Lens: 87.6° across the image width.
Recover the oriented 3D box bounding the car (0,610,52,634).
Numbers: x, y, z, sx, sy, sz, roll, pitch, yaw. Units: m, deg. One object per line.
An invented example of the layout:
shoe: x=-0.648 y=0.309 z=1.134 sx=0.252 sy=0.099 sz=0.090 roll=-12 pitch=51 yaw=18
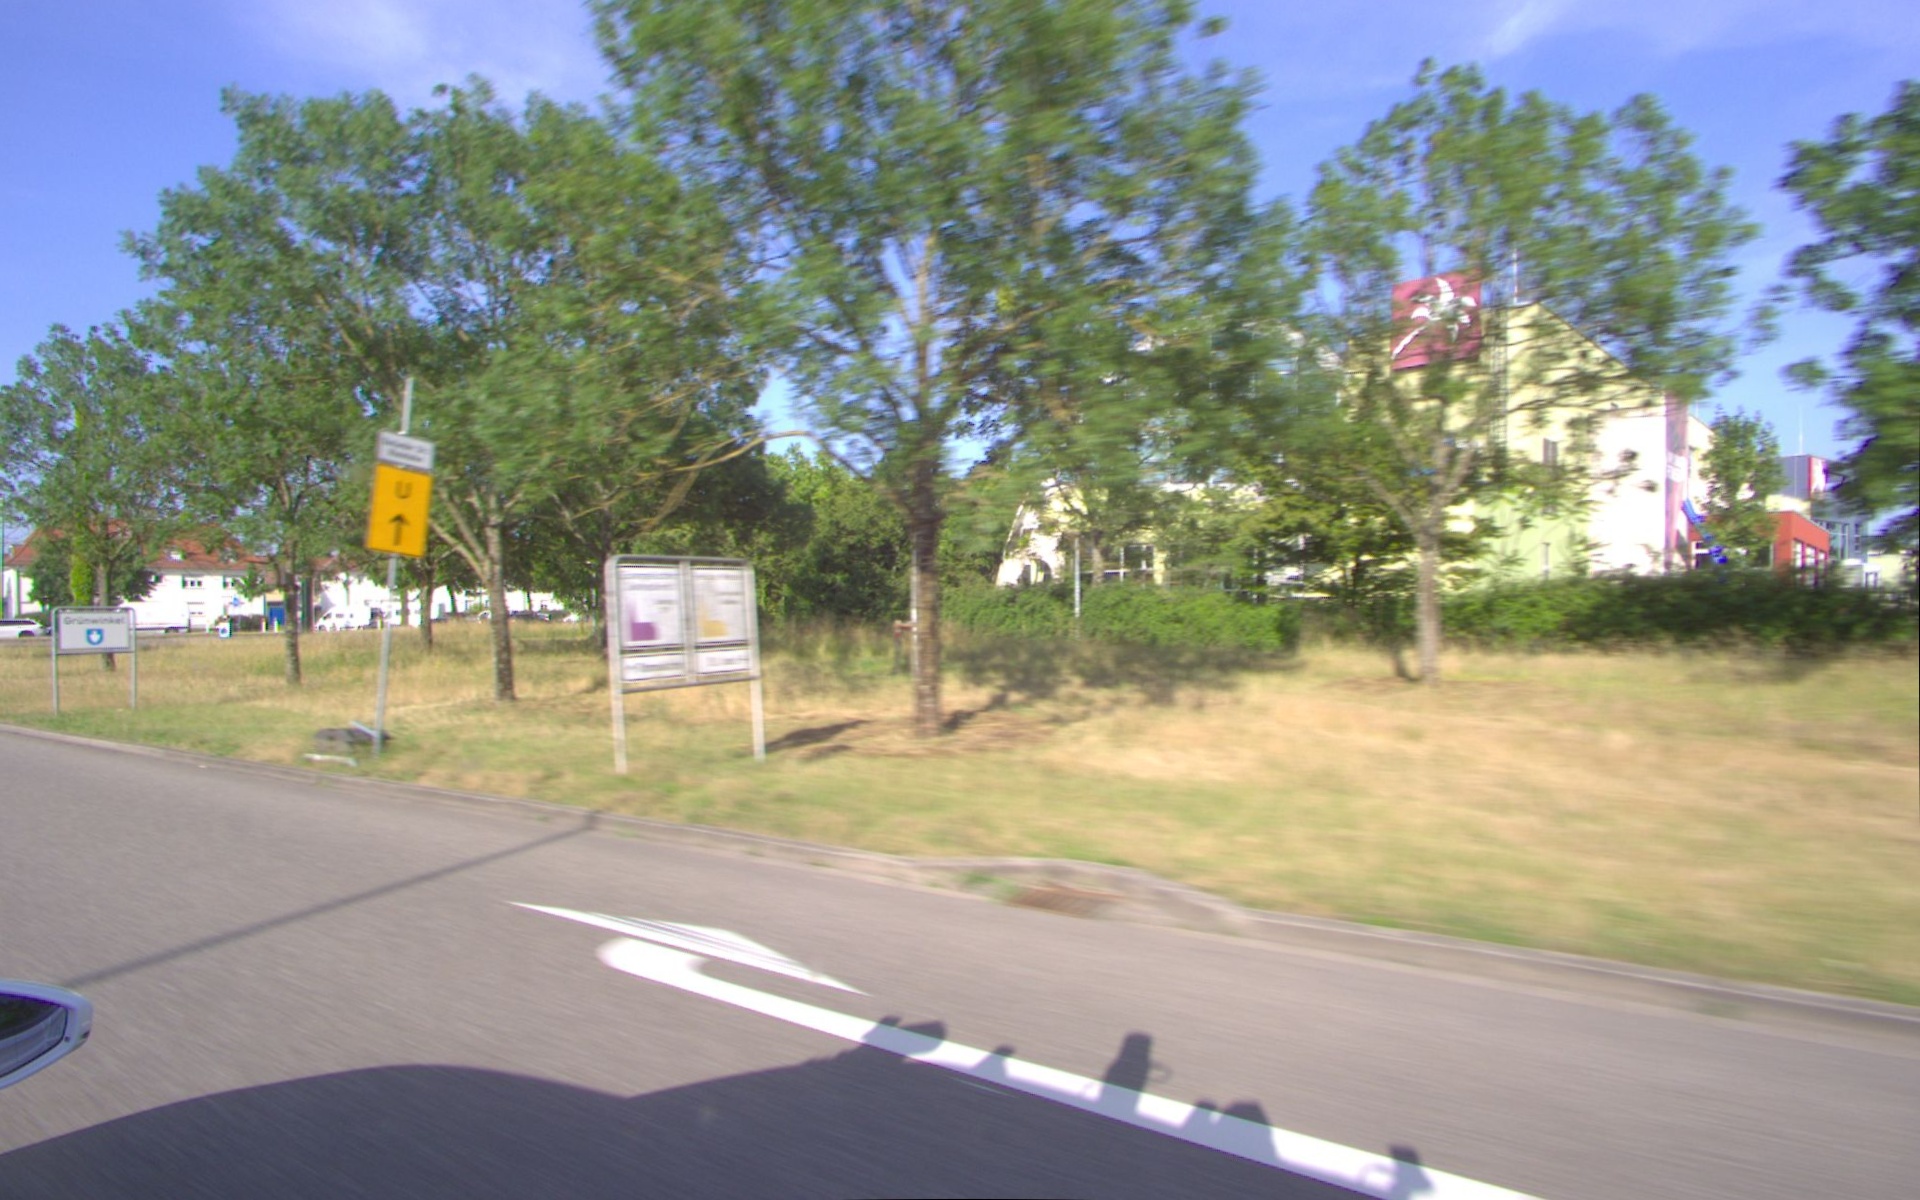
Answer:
car: x=-64.593 y=1.470 z=67.341 sx=1.818 sy=1.583 sz=5.070 roll=0 pitch=0 yaw=40

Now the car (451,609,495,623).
car: x=-52.427 y=1.751 z=107.799 sx=3.835 sy=1.475 sz=1.895 roll=-1 pitch=0 yaw=-9

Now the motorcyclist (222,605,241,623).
motorcyclist: x=-55.825 y=1.062 z=76.766 sx=0.671 sy=1.369 sz=1.061 roll=0 pitch=0 yaw=39

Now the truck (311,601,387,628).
truck: x=-59.528 y=1.391 z=97.571 sx=6.234 sy=2.557 sz=2.277 roll=0 pitch=0 yaw=5

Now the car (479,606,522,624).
car: x=-50.680 y=1.620 z=110.452 sx=3.834 sy=1.945 sz=1.895 roll=-1 pitch=0 yaw=-6

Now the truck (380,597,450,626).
truck: x=-55.824 y=1.206 z=102.676 sx=5.962 sy=2.892 sz=1.895 roll=-1 pitch=0 yaw=-6

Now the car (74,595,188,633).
car: x=-60.164 y=0.998 z=72.791 sx=1.976 sy=2.617 sz=6.180 roll=0 pitch=0 yaw=40

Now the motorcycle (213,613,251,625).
motorcycle: x=-55.824 y=1.468 z=76.776 sx=0.682 sy=0.878 sz=2.261 roll=0 pitch=0 yaw=39

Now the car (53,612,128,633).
car: x=-63.865 y=1.646 z=73.579 sx=1.696 sy=1.472 sz=3.968 roll=0 pitch=0 yaw=40
